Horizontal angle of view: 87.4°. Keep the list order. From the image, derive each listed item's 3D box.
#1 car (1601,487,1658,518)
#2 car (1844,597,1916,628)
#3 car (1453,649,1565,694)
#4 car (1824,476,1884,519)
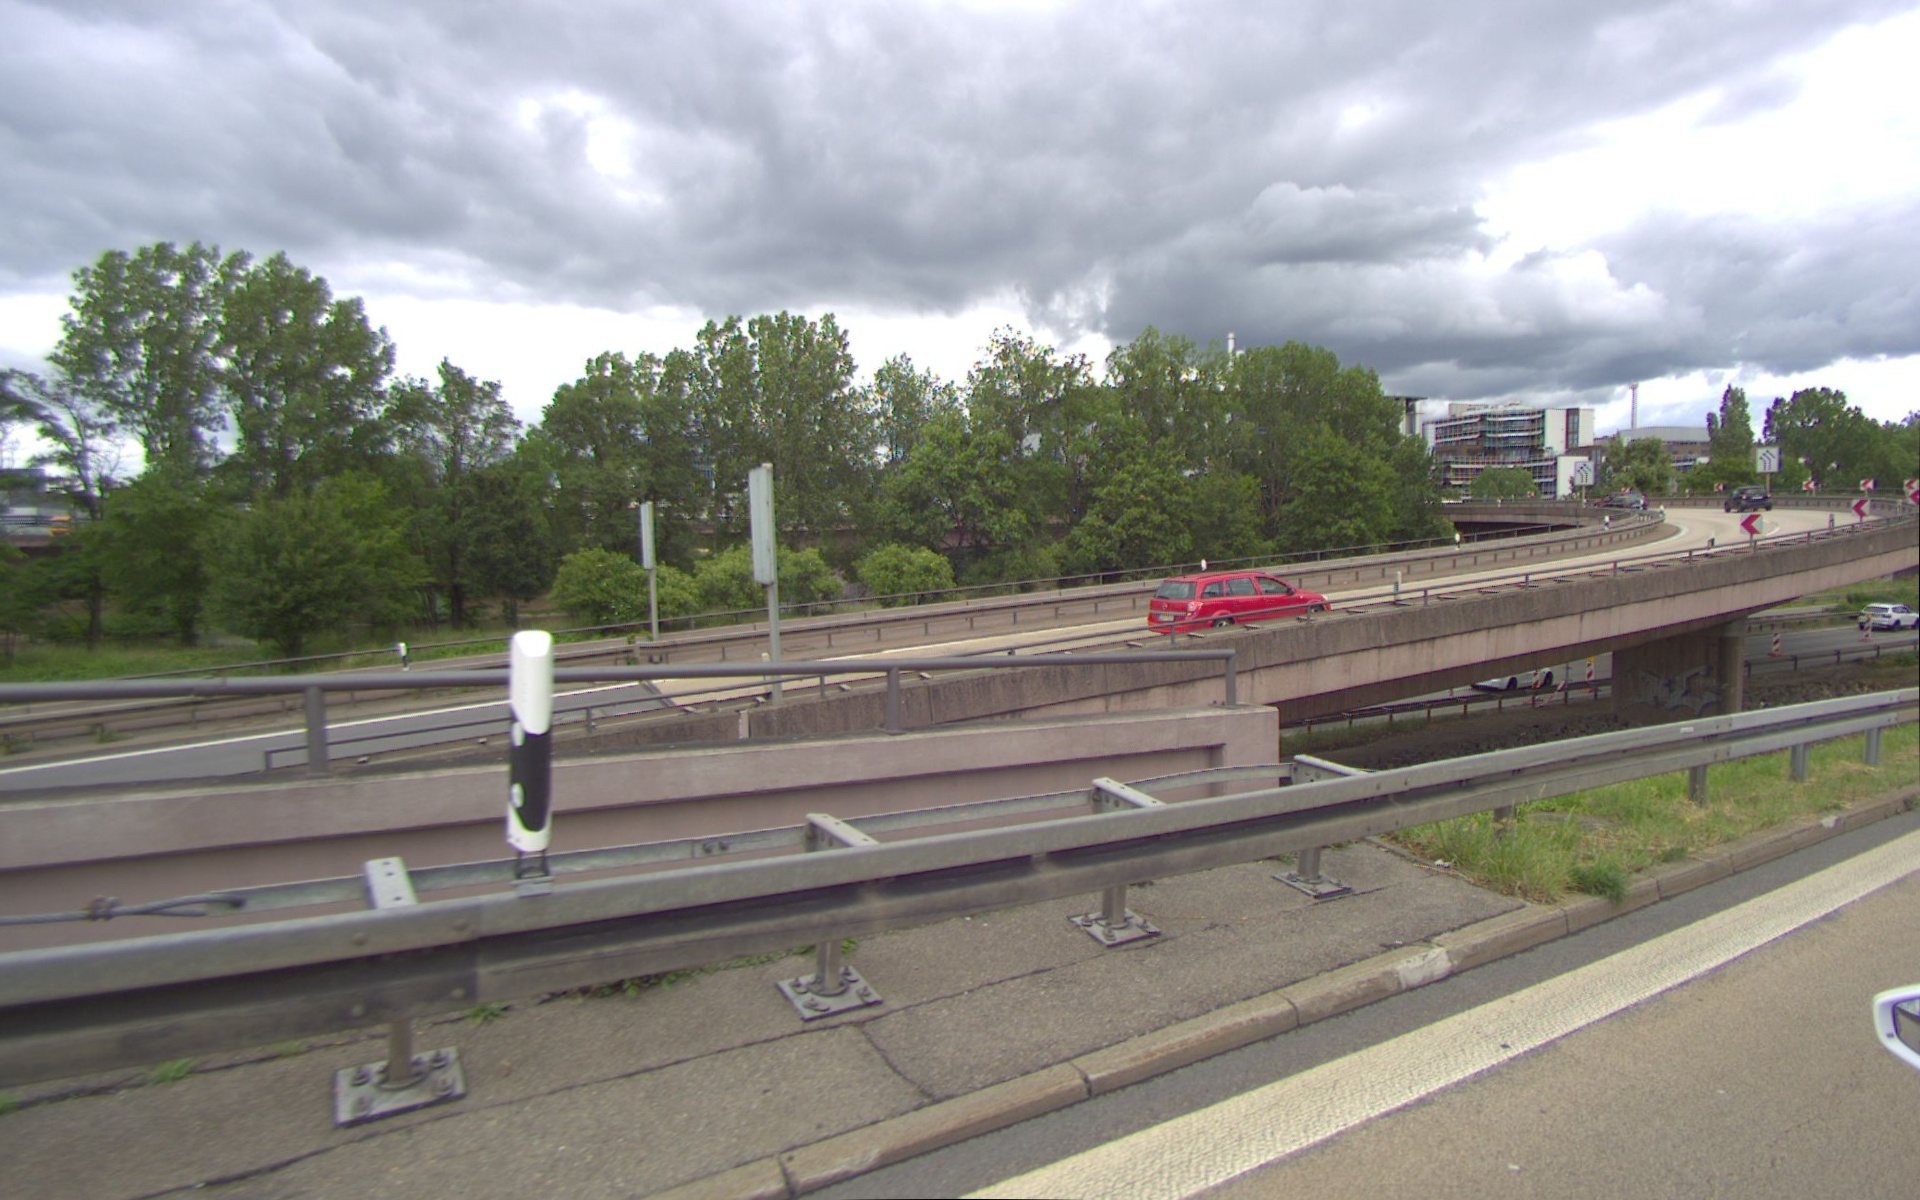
[{"bbox_3d":[46.235,-6.741,69.481,1.959,1.796,4.001,2,1,13],"label":"car"},{"bbox_3d":[59.489,0.773,64.958,4.045,1.736,1.987,-2,4,-25],"label":"car"},{"bbox_3d":[24.623,3.159,45.057,4.735,1.475,1.987,-2,4,-25],"label":"car"},{"bbox_3d":[45.073,-5.101,50.609,3.974,1.796,1.973,0,2,-45],"label":"car"}]
